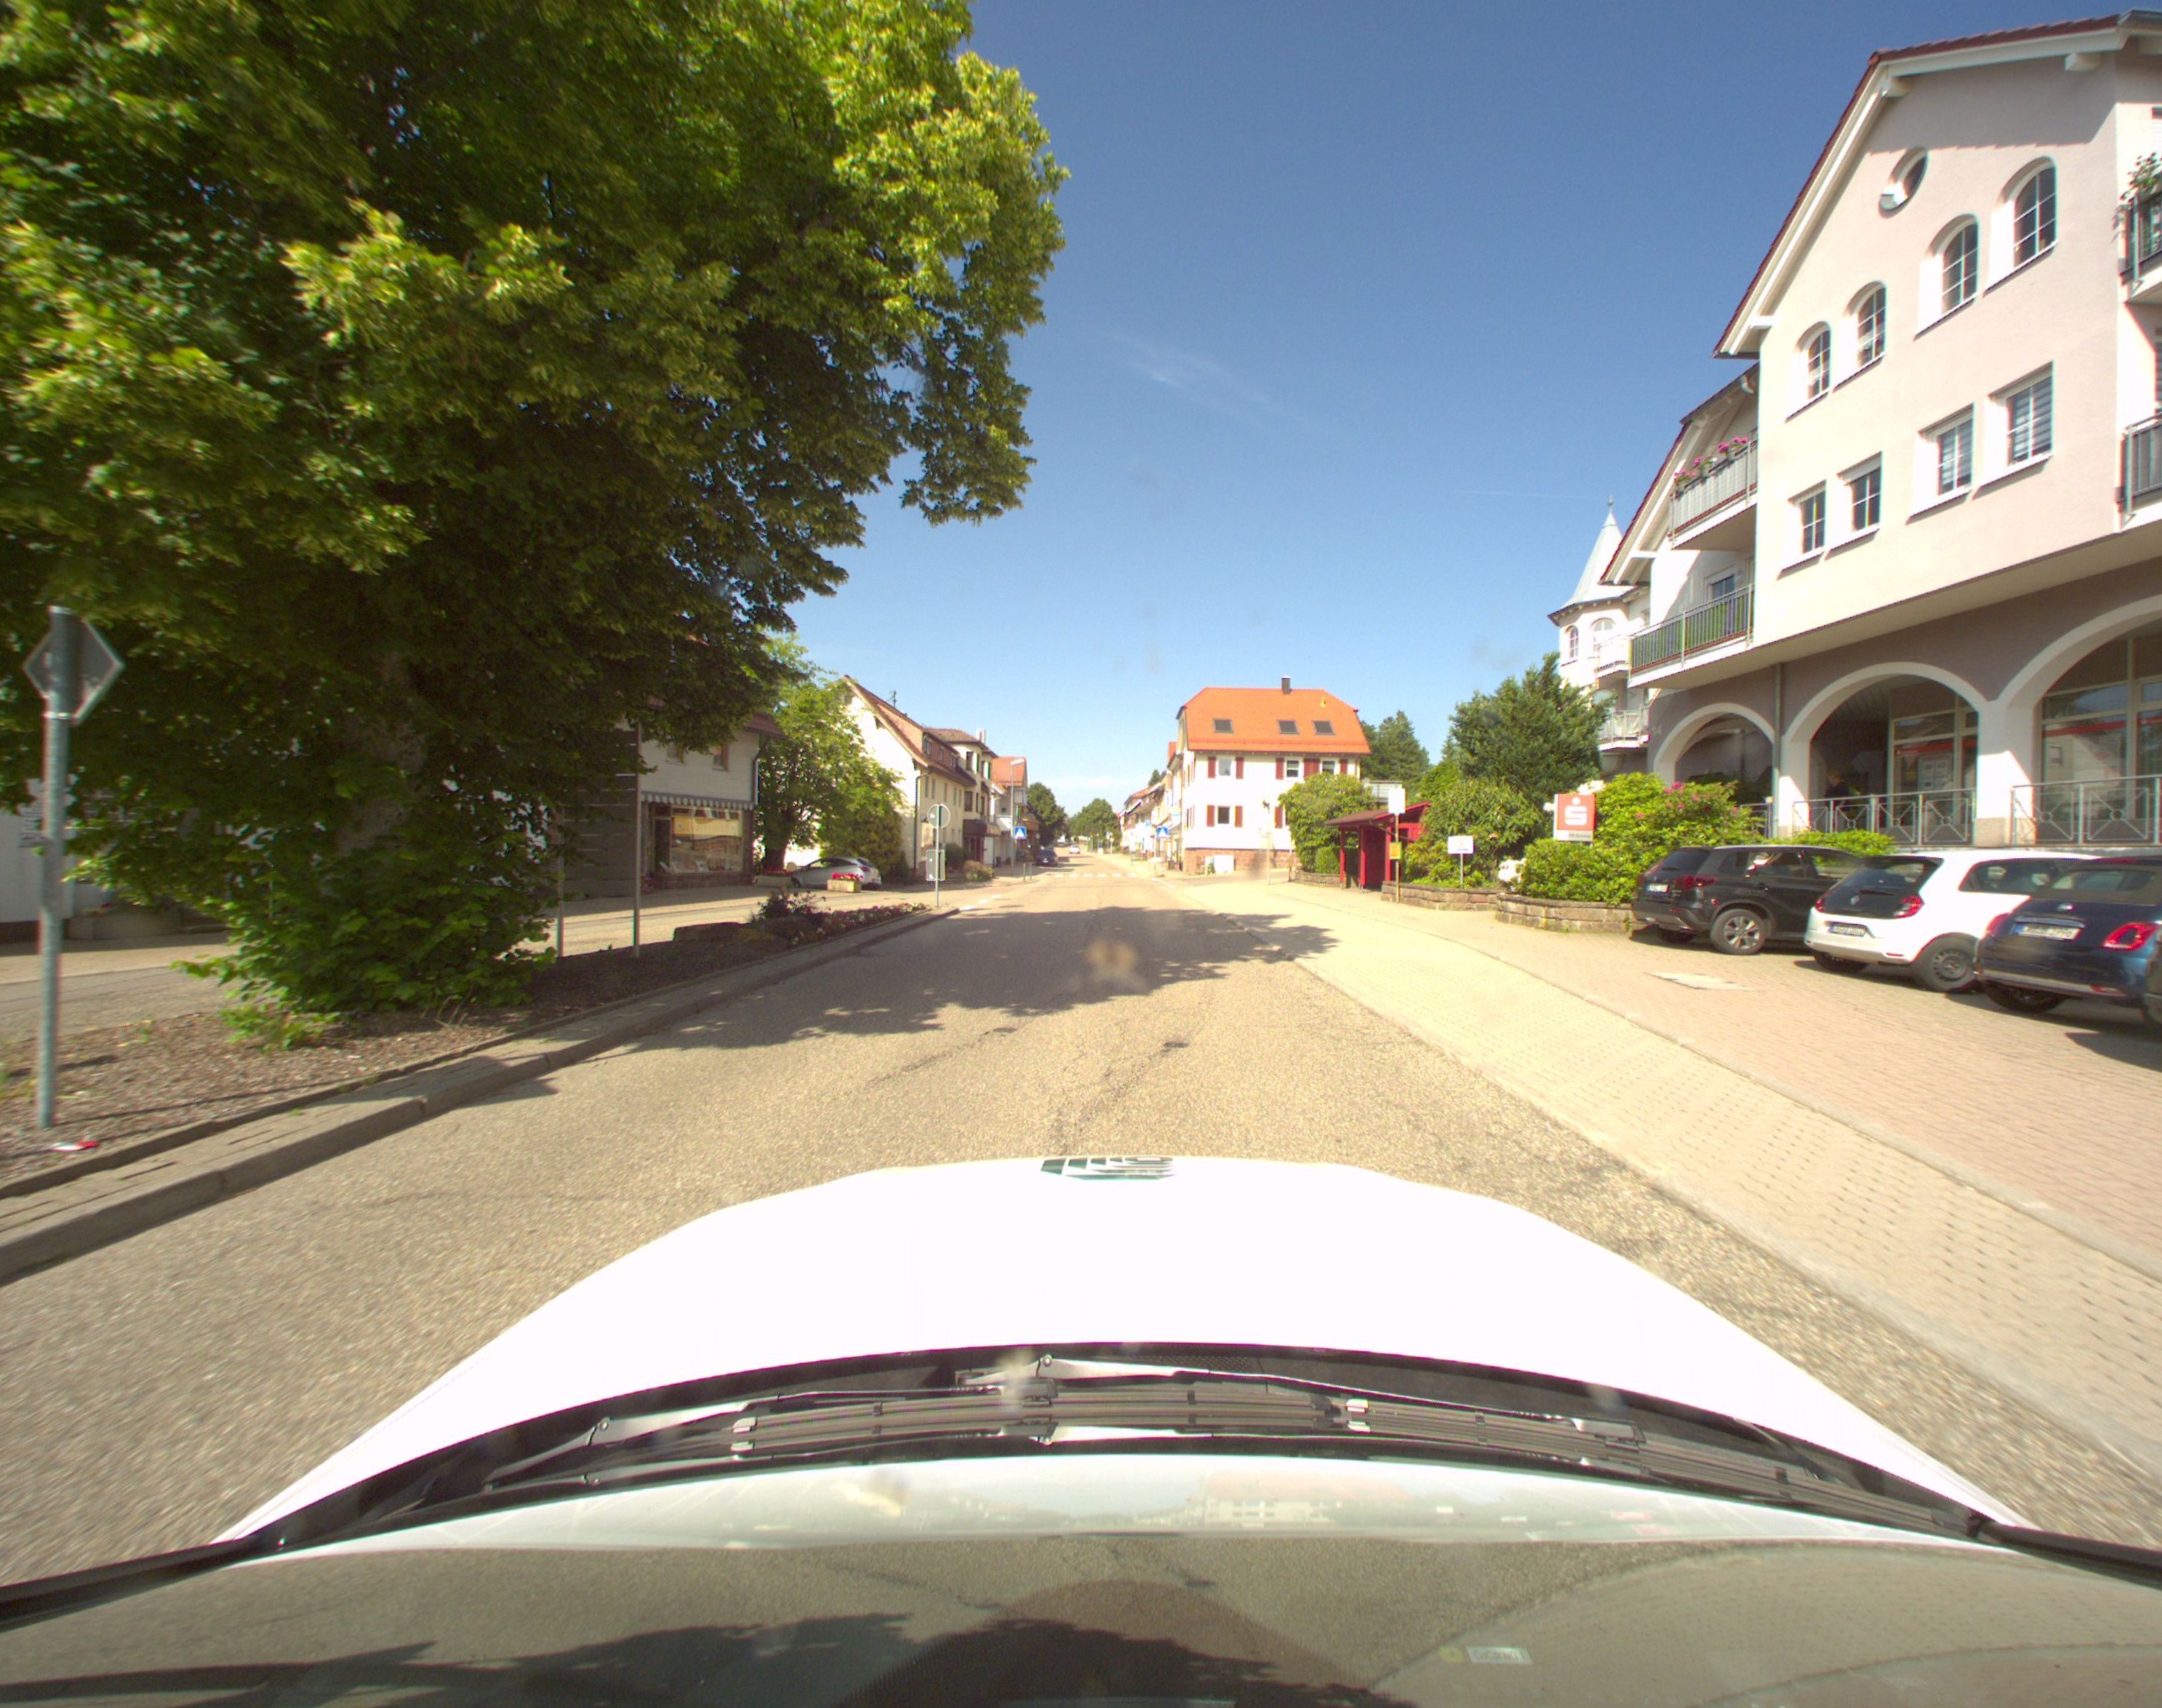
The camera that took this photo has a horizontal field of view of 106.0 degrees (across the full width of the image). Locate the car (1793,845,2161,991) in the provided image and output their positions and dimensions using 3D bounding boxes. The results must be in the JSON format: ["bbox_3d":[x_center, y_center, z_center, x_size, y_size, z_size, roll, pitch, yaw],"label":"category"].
[{"bbox_3d":[10.427,0.664,9.203,3.214,1.469,1.632,-1,0,9],"label":"car"}]

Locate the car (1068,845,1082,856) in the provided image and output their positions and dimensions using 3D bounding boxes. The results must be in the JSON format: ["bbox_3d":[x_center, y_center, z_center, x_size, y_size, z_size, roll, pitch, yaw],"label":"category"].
[{"bbox_3d":[-1.177,-0.758,161.571,2.486,2.013,4.305,-2,0,1],"label":"car"}]

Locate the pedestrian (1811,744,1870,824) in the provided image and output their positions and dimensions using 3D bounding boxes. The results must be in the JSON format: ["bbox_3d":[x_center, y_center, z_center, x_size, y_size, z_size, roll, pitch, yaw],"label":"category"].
[{"bbox_3d":[16.882,-1.532,18.108,0.609,1.722,0.758,-2,1,5],"label":"pedestrian"}]

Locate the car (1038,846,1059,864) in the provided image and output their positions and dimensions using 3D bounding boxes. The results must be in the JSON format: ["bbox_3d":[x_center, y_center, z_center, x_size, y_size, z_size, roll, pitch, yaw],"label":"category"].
[{"bbox_3d":[-3.082,0.105,77.878,1.666,1.533,3.536,4,0,1],"label":"car"}]

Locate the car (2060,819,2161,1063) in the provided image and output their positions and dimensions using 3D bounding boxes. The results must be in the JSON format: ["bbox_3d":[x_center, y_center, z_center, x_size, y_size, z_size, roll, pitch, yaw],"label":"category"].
[{"bbox_3d":[8.759,0.600,4.561,3.960,1.549,1.744,1,1,12],"label":"car"}]

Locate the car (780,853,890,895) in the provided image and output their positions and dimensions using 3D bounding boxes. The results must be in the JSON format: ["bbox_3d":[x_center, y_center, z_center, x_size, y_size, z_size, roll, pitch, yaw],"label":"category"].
[{"bbox_3d":[-9.700,0.815,32.205,3.732,1.455,1.823,-2,-5,13],"label":"car"}]

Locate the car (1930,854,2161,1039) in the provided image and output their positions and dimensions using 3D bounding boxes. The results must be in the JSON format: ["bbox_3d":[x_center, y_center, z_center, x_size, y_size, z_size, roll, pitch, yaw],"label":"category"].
[{"bbox_3d":[9.910,0.742,6.893,3.537,1.418,1.586,1,1,9],"label":"car"}]

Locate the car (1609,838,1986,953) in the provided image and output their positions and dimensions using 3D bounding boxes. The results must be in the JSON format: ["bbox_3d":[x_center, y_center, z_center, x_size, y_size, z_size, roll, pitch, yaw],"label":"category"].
[{"bbox_3d":[10.630,0.582,12.359,3.969,1.548,1.883,-1,0,4],"label":"car"}]

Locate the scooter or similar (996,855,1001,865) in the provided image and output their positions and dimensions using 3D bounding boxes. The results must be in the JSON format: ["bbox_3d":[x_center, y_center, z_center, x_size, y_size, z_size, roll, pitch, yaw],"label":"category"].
[{"bbox_3d":[-7.308,0.529,72.232,0.351,0.890,0.394,-2,0,-5],"label":"scooter or similar"}]
